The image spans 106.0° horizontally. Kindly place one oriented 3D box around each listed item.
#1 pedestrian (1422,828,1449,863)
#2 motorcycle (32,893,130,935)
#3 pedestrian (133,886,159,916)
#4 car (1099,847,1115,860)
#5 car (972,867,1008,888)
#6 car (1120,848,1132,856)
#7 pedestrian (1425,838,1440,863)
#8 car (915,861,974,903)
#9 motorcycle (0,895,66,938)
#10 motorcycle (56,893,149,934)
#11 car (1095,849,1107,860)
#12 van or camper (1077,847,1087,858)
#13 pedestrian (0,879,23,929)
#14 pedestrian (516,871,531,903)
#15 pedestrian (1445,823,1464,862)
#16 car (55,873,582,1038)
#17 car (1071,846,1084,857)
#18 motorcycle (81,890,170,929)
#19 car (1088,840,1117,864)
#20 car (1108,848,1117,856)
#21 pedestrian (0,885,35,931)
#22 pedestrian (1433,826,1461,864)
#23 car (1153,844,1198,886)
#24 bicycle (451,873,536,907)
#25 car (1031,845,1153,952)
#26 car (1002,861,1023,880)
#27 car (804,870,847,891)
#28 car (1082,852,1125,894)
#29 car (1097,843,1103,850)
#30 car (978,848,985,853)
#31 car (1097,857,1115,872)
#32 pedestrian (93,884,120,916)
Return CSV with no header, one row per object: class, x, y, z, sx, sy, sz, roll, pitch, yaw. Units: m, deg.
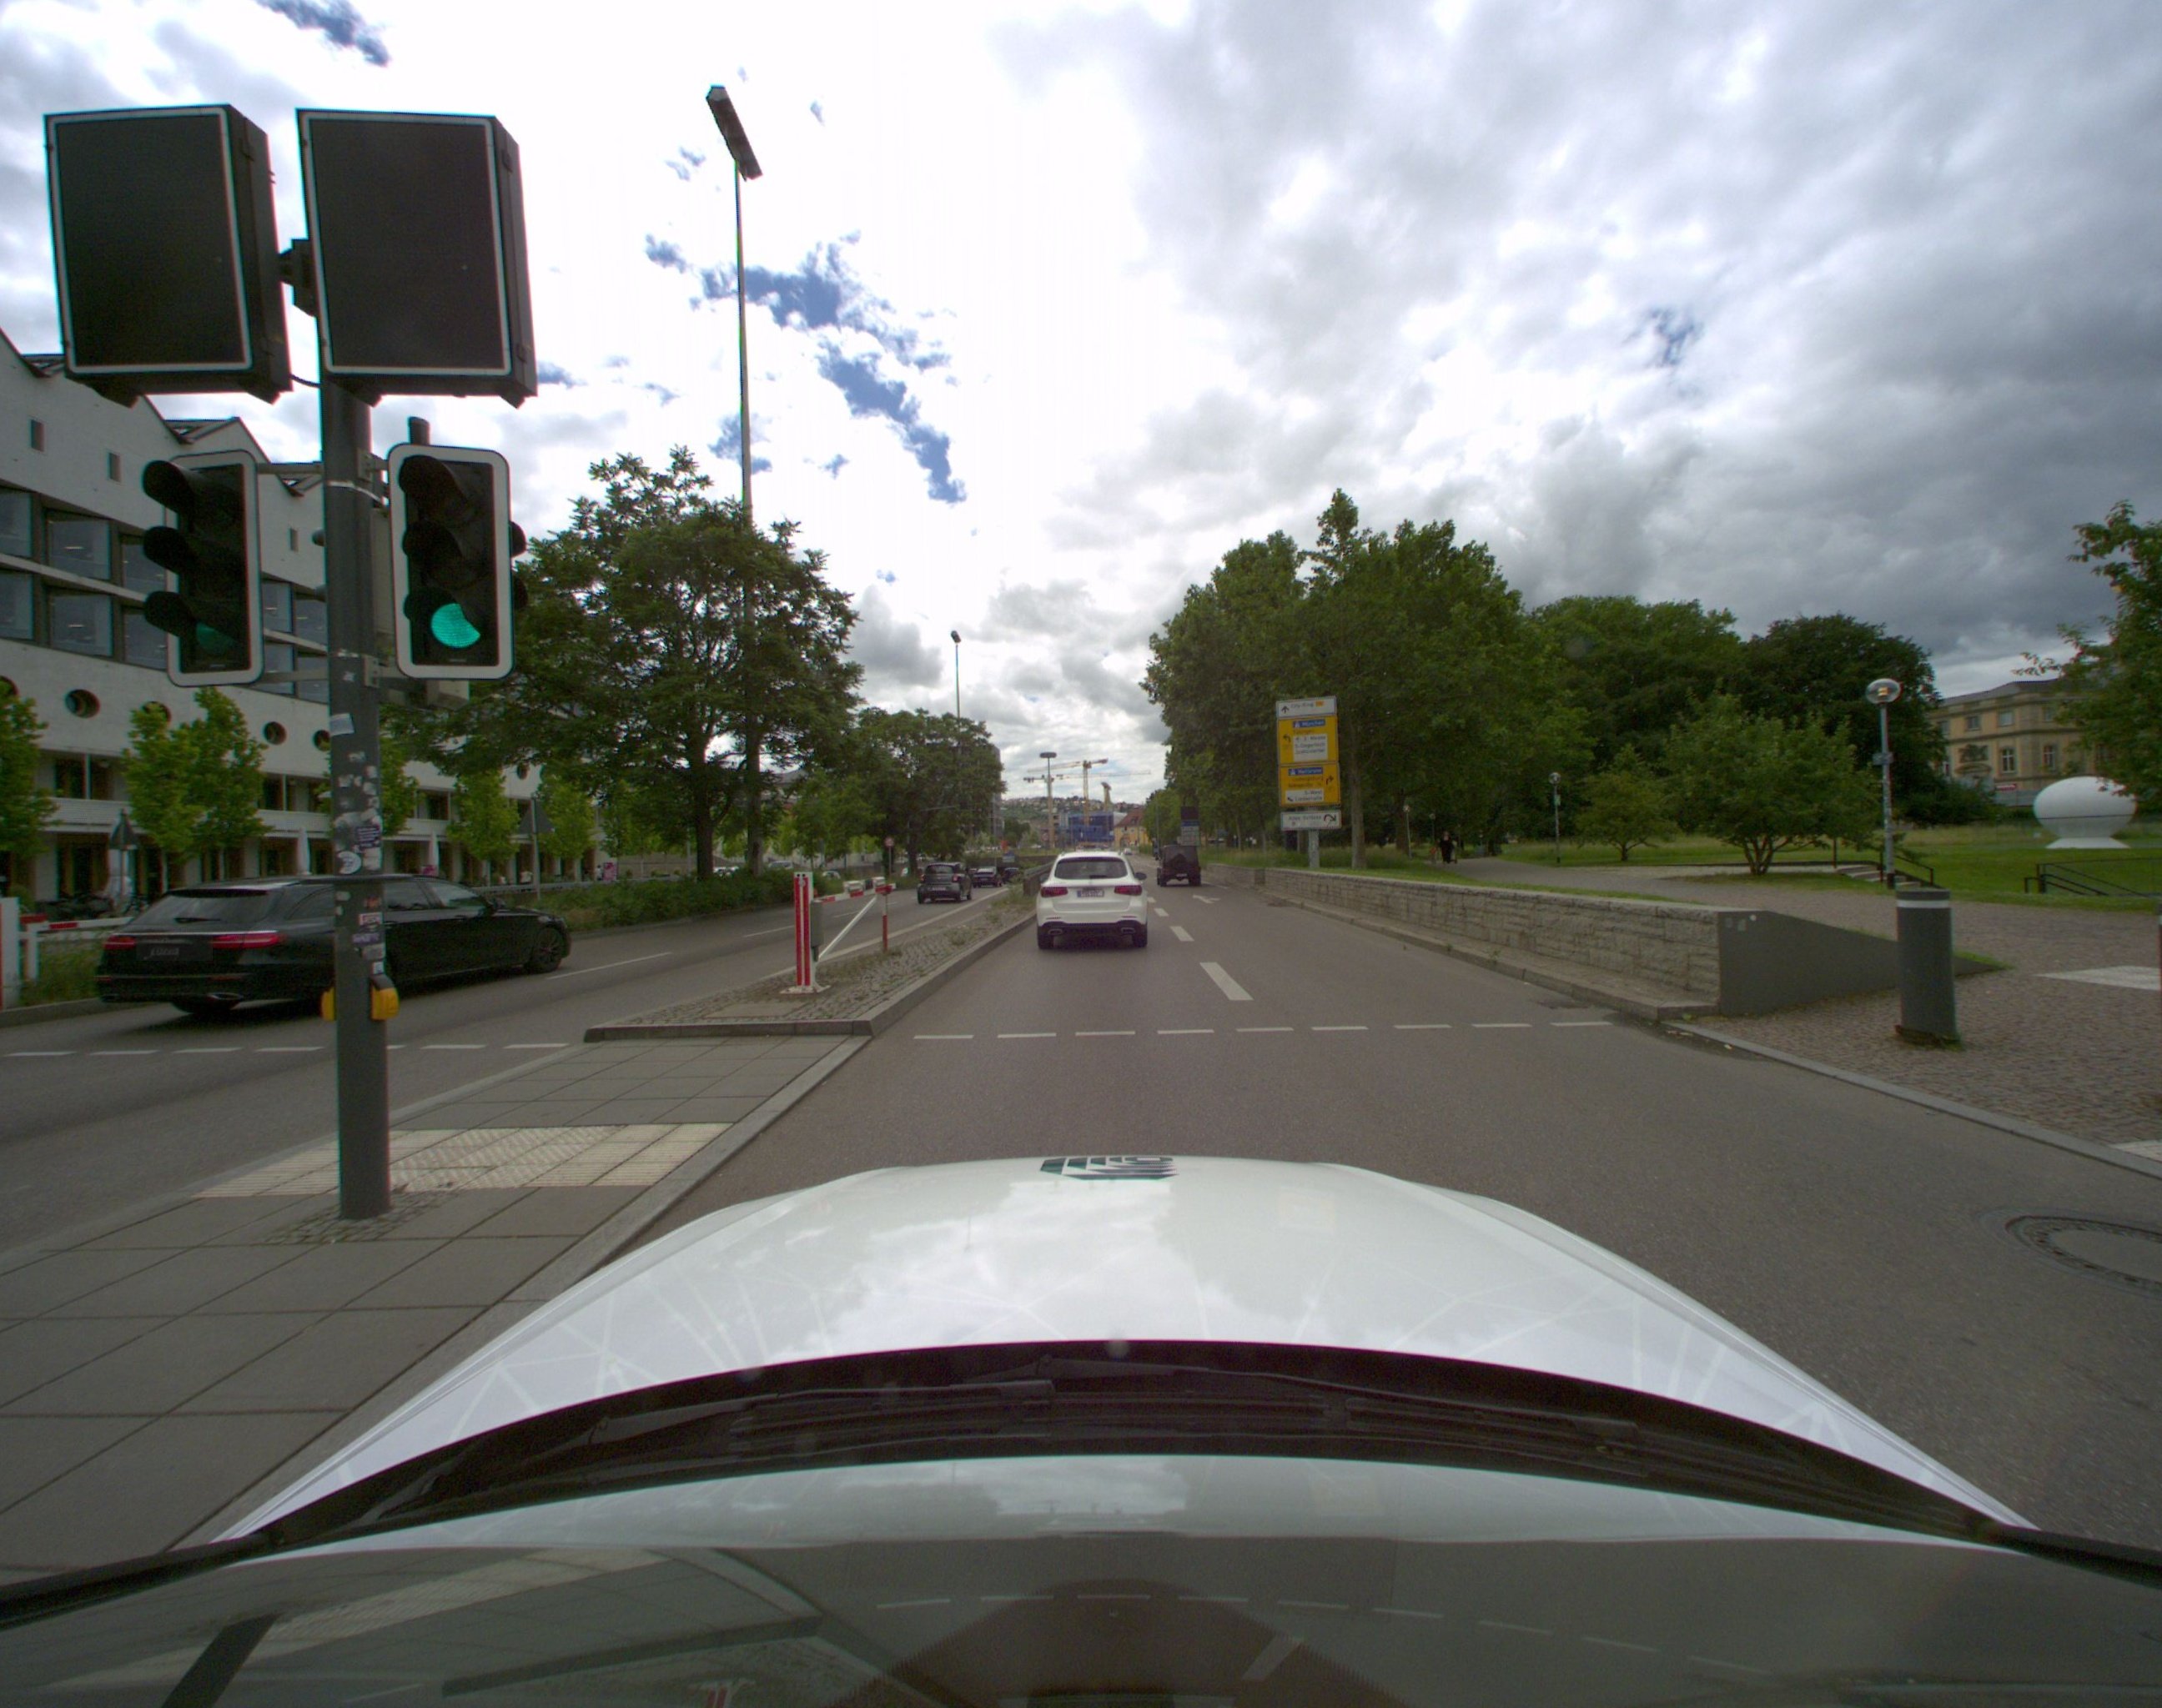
pedestrian,19.124,-0.466,43.919,0.995,1.836,1.028,1,-1,-5
motorcycle,-32.459,1.926,26.472,1.893,1.234,0.653,-2,-3,-25
pedestrian,-42.653,2.125,37.153,0.517,1.327,0.565,-3,-2,0
car,3.474,-0.107,110.144,1.987,1.662,3.998,1,-1,-1
car,-6.070,1.548,54.453,1.712,1.292,4.003,1,0,3
car,9.808,-0.470,178.486,1.990,1.618,3.993,1,-1,-5
pedestrian,19.003,-0.186,44.036,0.580,1.325,0.542,1,-2,1
car,-5.224,1.054,31.478,1.622,1.509,3.540,0,-1,1
motorcycle,-32.194,1.892,24.554,1.893,1.234,0.653,-2,-3,-25
motorcycle,-32.832,1.986,27.360,1.893,1.234,0.653,-2,-3,-25
car,3.374,0.040,139.079,1.987,1.781,3.998,1,-1,-1
van or camper,0.212,-0.320,170.816,1.916,2.320,3.998,-1,-2,-1
pedestrian,-33.676,1.563,25.285,0.887,1.557,0.591,-2,-1,-43
pedestrian,-36.538,2.165,53.362,0.715,2.014,0.731,2,-5,-32
pedestrian,19.324,-0.582,42.189,0.568,2.014,0.932,1,-1,1
car,-8.648,1.011,10.065,1.805,1.460,4.865,-2,-1,2
car,-0.595,-0.370,137.853,1.986,1.757,4.001,1,-1,1
motorcycle,-33.128,1.911,28.258,1.893,1.234,0.653,-2,-3,-25
car,1.470,-0.128,57.925,1.916,1.602,3.999,-1,0,-1
car,6.827,-0.463,175.697,1.714,1.584,3.997,1,0,-2
pedestrian,-37.597,1.875,28.436,1.094,1.568,0.761,1,-1,3
pedestrian,16.923,-0.392,37.655,0.893,1.732,0.969,1,0,0
car,4.653,0.556,40.472,1.969,1.893,4.712,-2,-1,4
bicycle,-32.697,1.988,45.366,3.614,1.684,1.178,-2,0,-11
car,0.162,0.745,14.965,1.935,1.684,3.998,1,-1,-1
car,-6.322,1.521,75.181,1.714,1.678,3.997,1,0,-2
car,-18.610,1.880,59.491,1.749,1.462,4.001,1,-1,2
car,0.895,0.774,33.703,1.666,1.628,4.000,1,-1,1
car,5.613,-2.260,243.789,1.794,2.014,3.998,1,-1,-1
car,-29.115,-0.991,237.581,1.829,1.360,3.861,1,-1,-5
car,2.856,1.207,93.099,1.916,1.602,3.999,-1,0,-1
pedestrian,-42.348,1.993,35.393,0.517,1.327,0.565,-3,-2,0
